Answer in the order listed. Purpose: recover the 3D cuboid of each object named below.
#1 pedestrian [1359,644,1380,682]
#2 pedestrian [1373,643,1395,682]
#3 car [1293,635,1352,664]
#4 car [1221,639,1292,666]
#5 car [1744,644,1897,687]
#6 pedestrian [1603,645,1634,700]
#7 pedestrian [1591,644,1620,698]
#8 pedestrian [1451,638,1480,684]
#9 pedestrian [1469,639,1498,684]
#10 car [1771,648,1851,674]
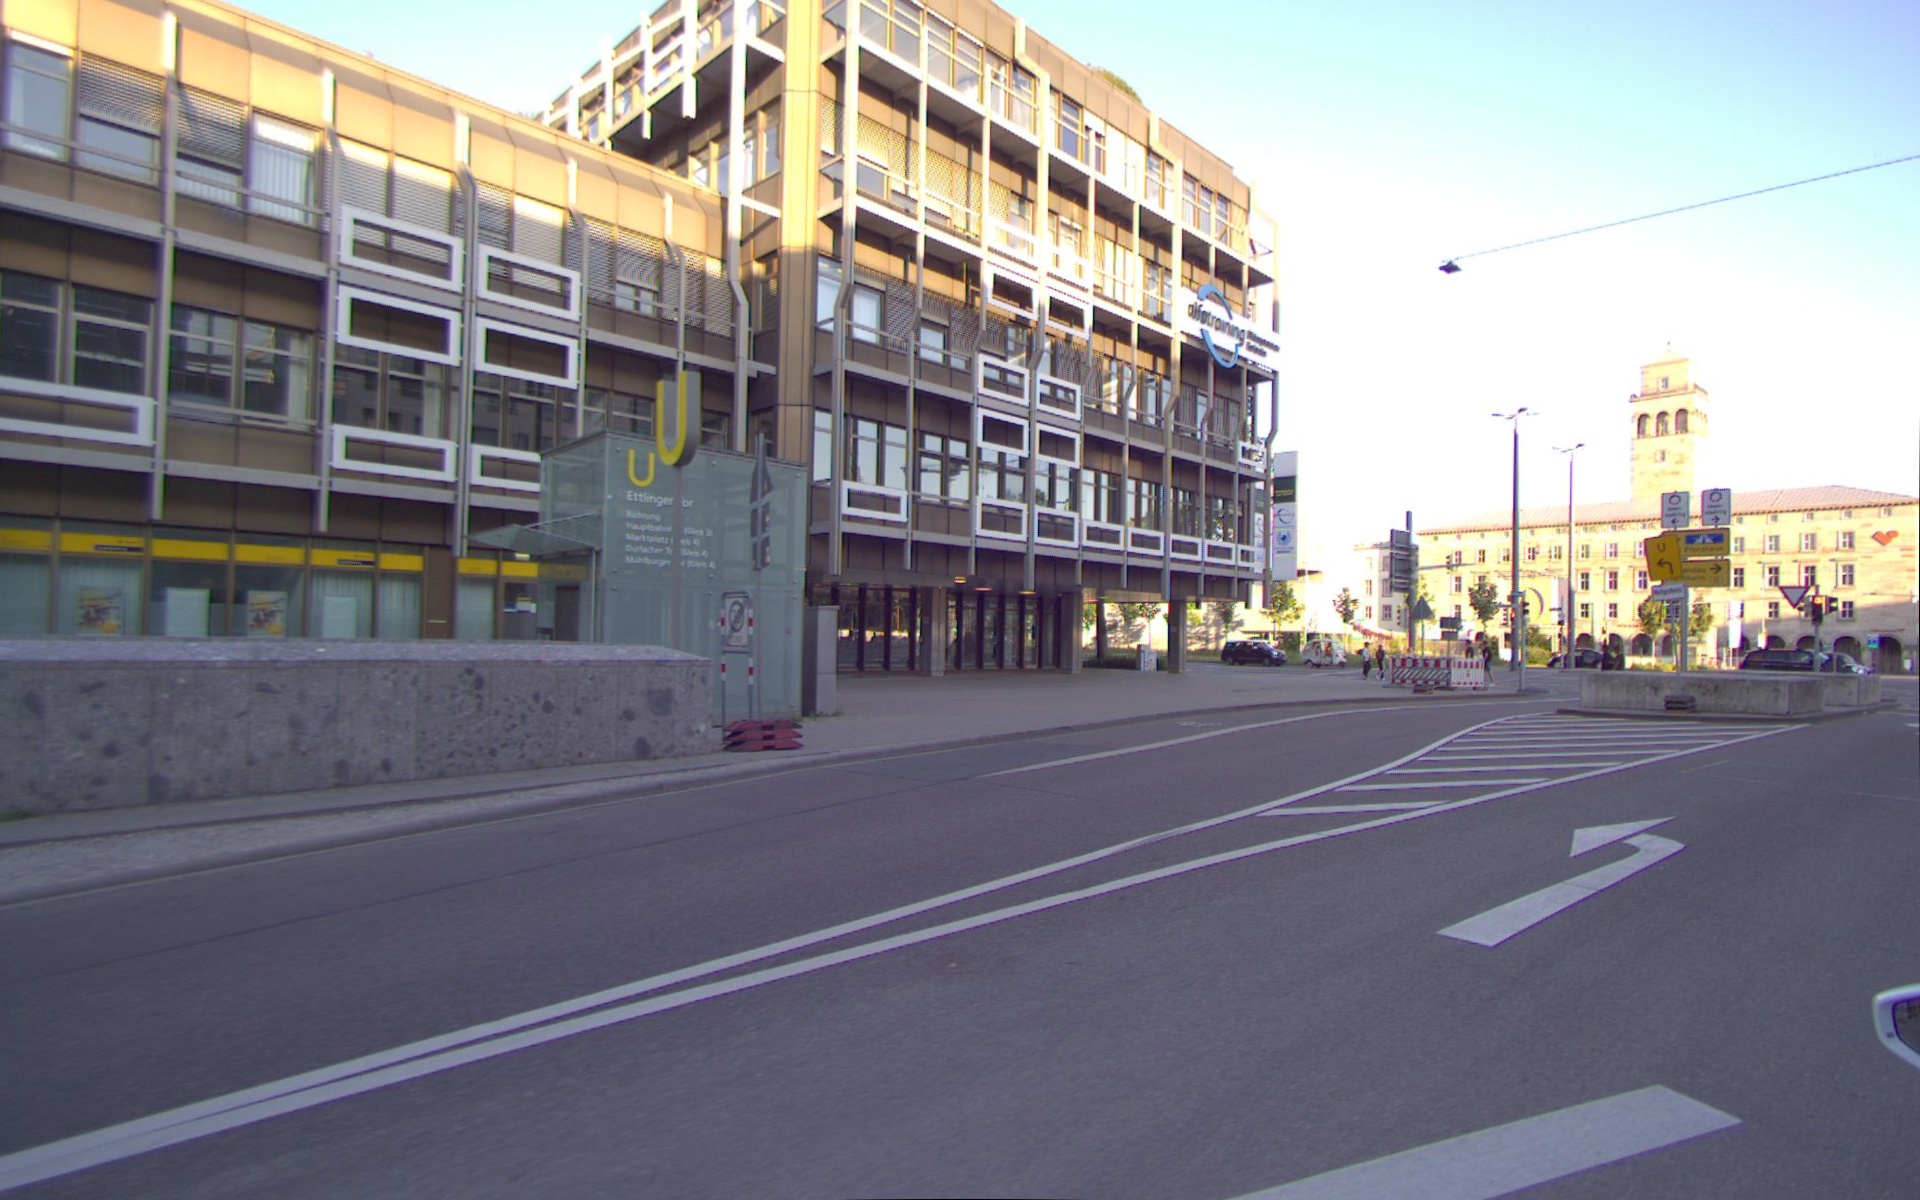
[{"bbox_3d":[19.298,2.972,47.393,0.726,1.800,0.864,-2,-4,12],"label":"pedestrian"},{"bbox_3d":[19.882,2.945,47.129,0.726,1.800,0.864,-2,-4,13],"label":"pedestrian"},{"bbox_3d":[22.314,3.042,61.880,3.090,1.707,1.606,0,-2,36],"label":"car"},{"bbox_3d":[19.191,3.391,65.149,4.133,1.613,1.688,-1,-2,41],"label":"car"},{"bbox_3d":[34.477,2.581,40.339,2.112,1.515,4.421,2,-2,-41],"label":"car"},{"bbox_3d":[21.920,2.395,33.435,0.727,1.800,0.863,0,-2,26],"label":"pedestrian"},{"bbox_3d":[21.952,2.404,34.181,0.727,1.800,0.862,1,-1,28],"label":"pedestrian"},{"bbox_3d":[20.105,2.435,39.925,0.857,1.800,0.731,2,-5,-44],"label":"pedestrian"},{"bbox_3d":[21.106,2.475,40.505,0.857,1.800,0.731,2,-5,-44],"label":"pedestrian"},{"bbox_3d":[51.825,3.701,61.191,3.674,1.472,1.537,-1,-2,43],"label":"car"}]
